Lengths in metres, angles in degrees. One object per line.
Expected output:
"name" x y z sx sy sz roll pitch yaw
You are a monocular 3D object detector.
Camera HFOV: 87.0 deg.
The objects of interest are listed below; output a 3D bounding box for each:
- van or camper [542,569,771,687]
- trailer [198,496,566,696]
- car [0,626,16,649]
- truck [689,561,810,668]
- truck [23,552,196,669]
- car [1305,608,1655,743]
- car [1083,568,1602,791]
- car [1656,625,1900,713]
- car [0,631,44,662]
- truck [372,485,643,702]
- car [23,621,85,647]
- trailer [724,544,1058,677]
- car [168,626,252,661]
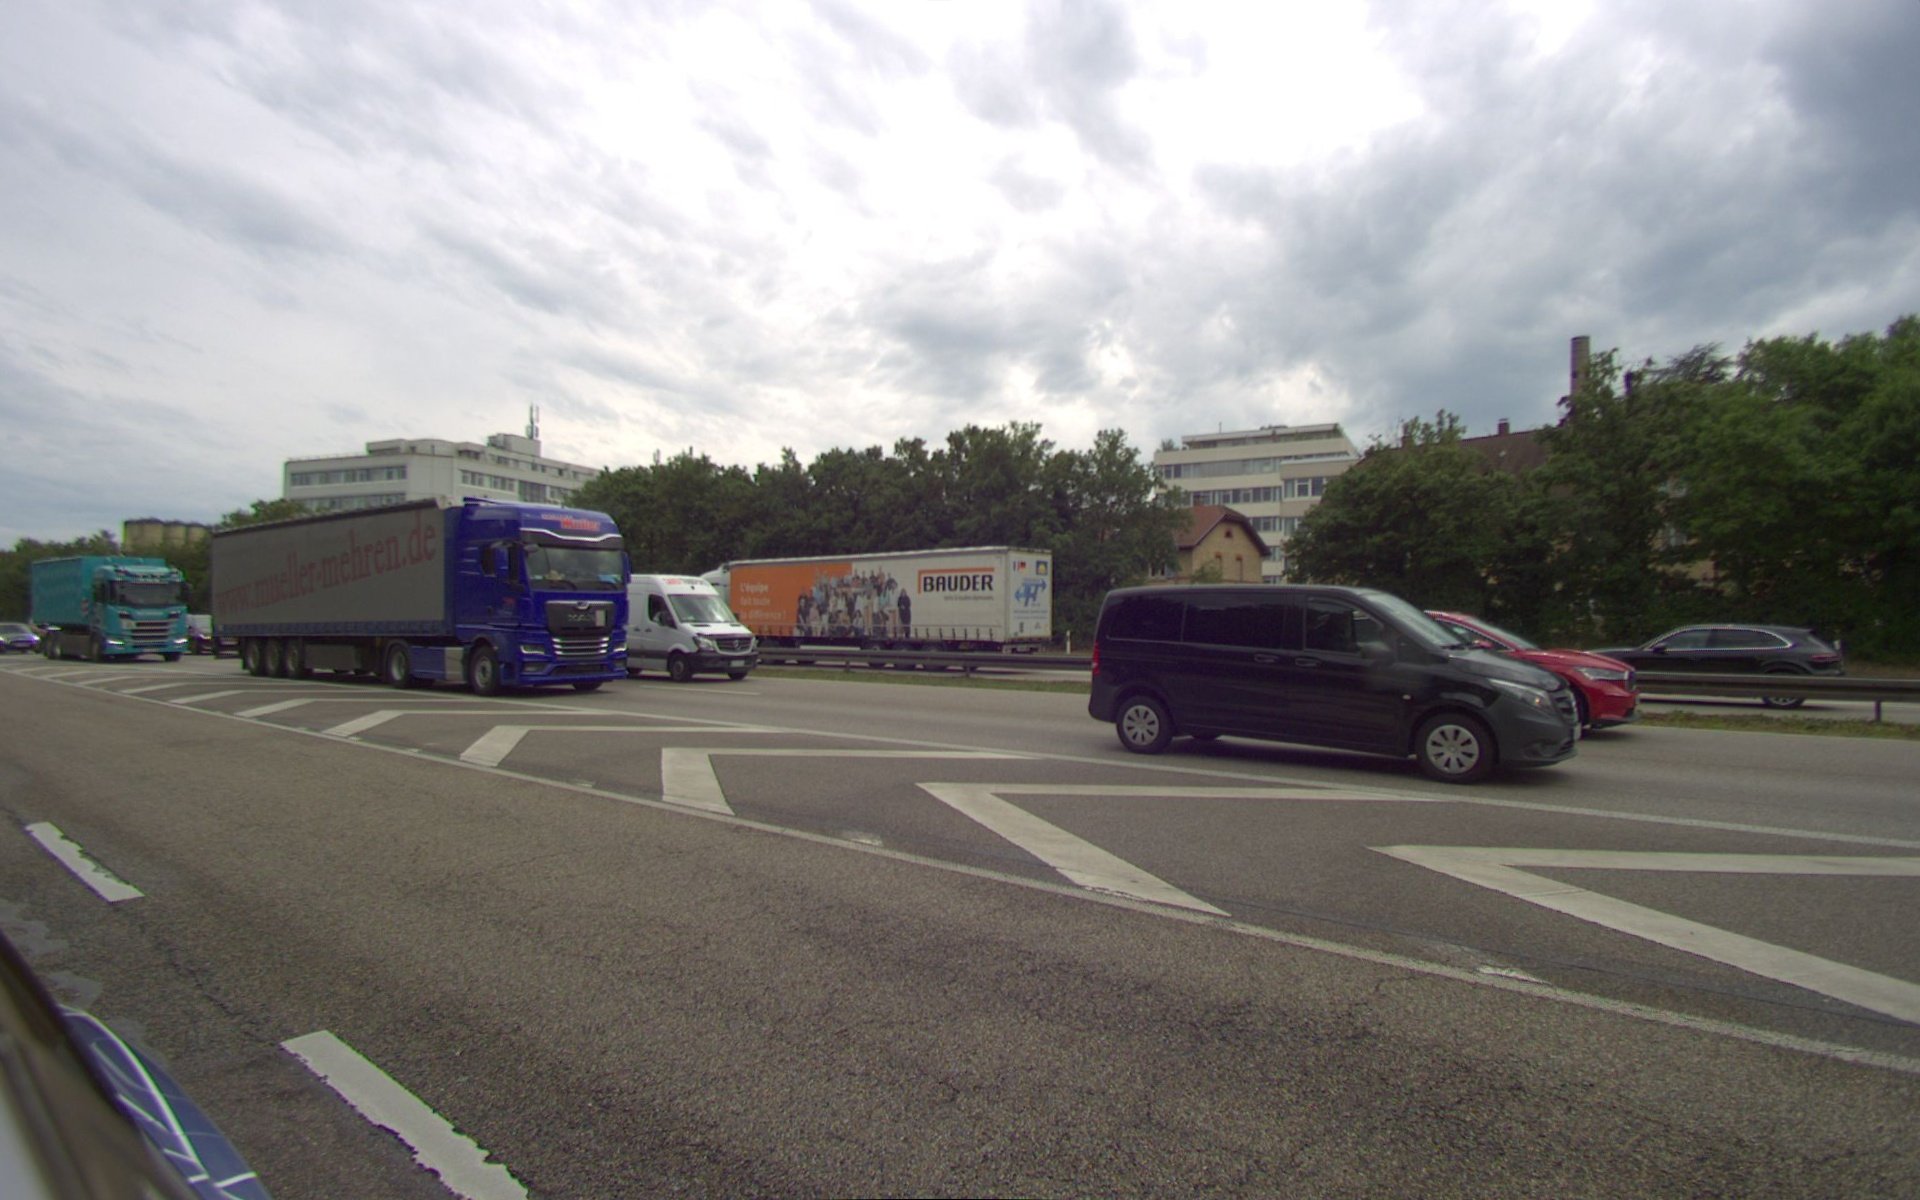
"van or camper" -7.849 0.710 25.682 6.949 2.641 2.029 -1 -2 39
"trailer" -15.105 0.060 25.493 13.893 4.005 2.649 -1 -2 36
"car" -64.682 2.498 67.484 3.243 1.494 1.976 -1 -2 36
"truck" -8.588 0.625 41.278 3.995 4.122 2.921 -1 -2 38
"truck" -32.878 0.463 38.924 10.104 4.031 2.669 -1 -2 36
"car" 6.990 0.943 13.824 3.943 1.579 1.748 -1 -2 42
"car" 3.875 0.723 10.780 4.806 1.865 1.974 -1 -2 39
"car" 16.377 1.318 20.415 3.678 1.608 1.609 -1 -2 41
"car" -44.118 2.130 46.802 3.990 1.332 1.737 -1 -2 35
"truck" -9.672 -0.050 21.447 5.916 3.991 2.644 -1 -2 36
"car" -52.514 1.967 58.641 4.048 1.444 1.875 -1 -2 37
"trailer" -3.027 0.486 36.868 13.809 4.122 2.921 -1 -2 38
"car" -33.018 1.893 44.502 3.993 1.444 1.875 -1 -2 37
